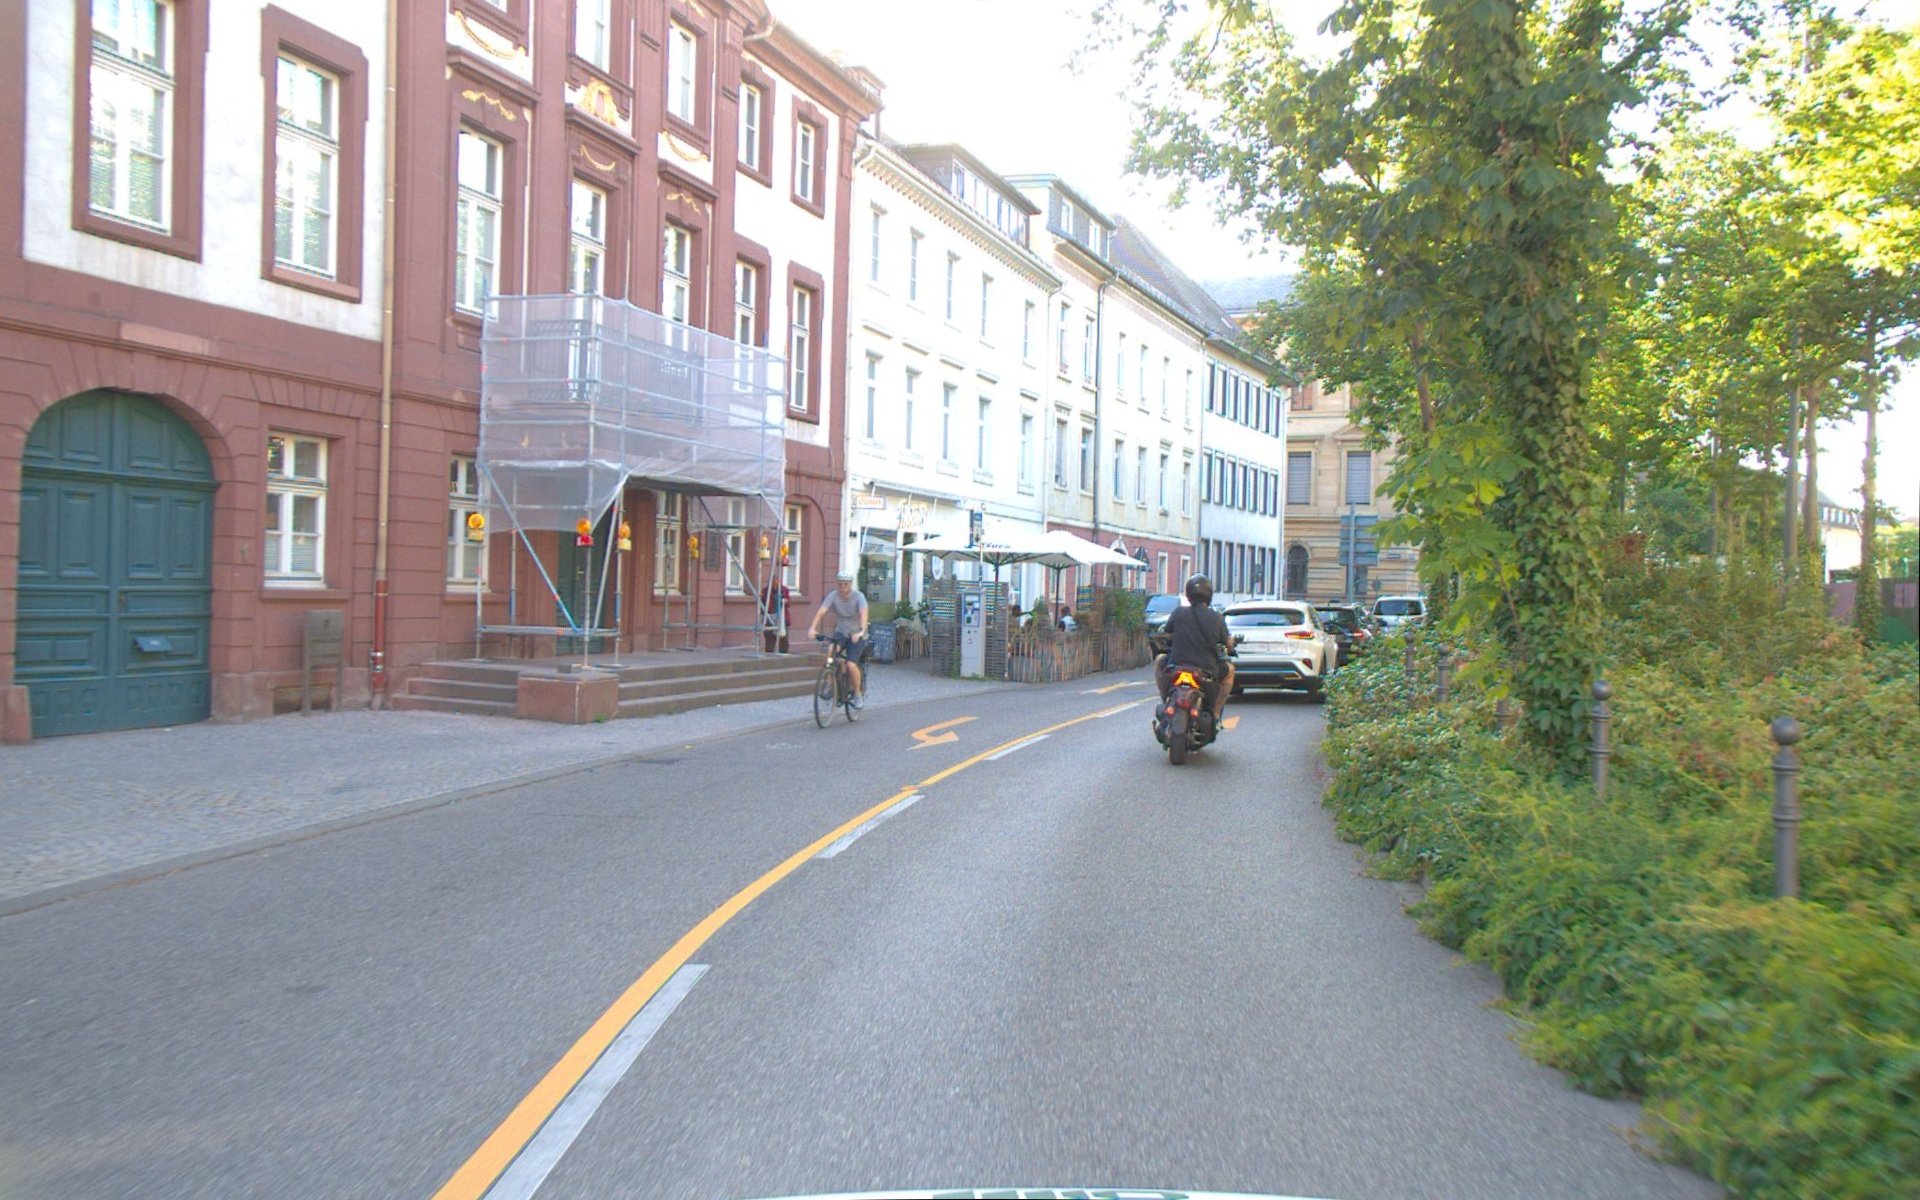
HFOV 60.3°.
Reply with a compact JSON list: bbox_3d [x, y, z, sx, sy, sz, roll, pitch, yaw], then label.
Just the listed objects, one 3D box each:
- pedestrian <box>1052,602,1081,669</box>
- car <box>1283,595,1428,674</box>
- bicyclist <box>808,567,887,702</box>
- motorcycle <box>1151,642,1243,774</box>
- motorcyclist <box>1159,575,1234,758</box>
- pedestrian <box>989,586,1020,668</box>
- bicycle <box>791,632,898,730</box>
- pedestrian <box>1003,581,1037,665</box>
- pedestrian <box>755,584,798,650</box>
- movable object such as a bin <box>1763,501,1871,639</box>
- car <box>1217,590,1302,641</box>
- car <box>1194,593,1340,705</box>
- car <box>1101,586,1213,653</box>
[{"bbox_3d":[2.343,0.775,36.333,0.461,1.458,0.502,1,0,24],"label":"pedestrian"},{"bbox_3d":[8.311,0.685,34.525,1.806,1.489,4.049,2,1,31],"label":"car"},{"bbox_3d":[-1.385,0.414,20.484,0.728,1.611,0.795,2,1,14],"label":"bicyclist"},{"bbox_3d":[2.252,0.985,15.618,0.779,1.084,1.727,2,1,9],"label":"motorcycle"},{"bbox_3d":[2.253,0.613,15.698,0.643,1.679,0.651,1,0,11],"label":"motorcyclist"},{"bbox_3d":[1.001,0.603,37.308,0.430,1.806,0.596,1,0,32],"label":"pedestrian"},{"bbox_3d":[-1.397,0.973,20.485,0.755,1.081,2.080,1,1,13],"label":"bicycle"},{"bbox_3d":[1.305,0.491,35.851,0.584,1.806,0.438,1,0,28],"label":"pedestrian"},{"bbox_3d":[-3.062,0.280,27.679,0.525,1.071,0.552,2,1,15],"label":"pedestrian"},{"bbox_3d":[30.786,-1.014,59.532,3.243,4.618,7.896,0,0,27],"label":"movable object such as a bin"},{"bbox_3d":[10.480,0.510,57.711,1.895,1.696,4.344,0,0,25],"label":"car"},{"bbox_3d":[4.826,0.684,25.604,1.812,1.506,4.060,2,1,16],"label":"car"},{"bbox_3d":[5.374,0.486,44.626,1.882,1.709,4.785,0,0,21],"label":"car"}]
